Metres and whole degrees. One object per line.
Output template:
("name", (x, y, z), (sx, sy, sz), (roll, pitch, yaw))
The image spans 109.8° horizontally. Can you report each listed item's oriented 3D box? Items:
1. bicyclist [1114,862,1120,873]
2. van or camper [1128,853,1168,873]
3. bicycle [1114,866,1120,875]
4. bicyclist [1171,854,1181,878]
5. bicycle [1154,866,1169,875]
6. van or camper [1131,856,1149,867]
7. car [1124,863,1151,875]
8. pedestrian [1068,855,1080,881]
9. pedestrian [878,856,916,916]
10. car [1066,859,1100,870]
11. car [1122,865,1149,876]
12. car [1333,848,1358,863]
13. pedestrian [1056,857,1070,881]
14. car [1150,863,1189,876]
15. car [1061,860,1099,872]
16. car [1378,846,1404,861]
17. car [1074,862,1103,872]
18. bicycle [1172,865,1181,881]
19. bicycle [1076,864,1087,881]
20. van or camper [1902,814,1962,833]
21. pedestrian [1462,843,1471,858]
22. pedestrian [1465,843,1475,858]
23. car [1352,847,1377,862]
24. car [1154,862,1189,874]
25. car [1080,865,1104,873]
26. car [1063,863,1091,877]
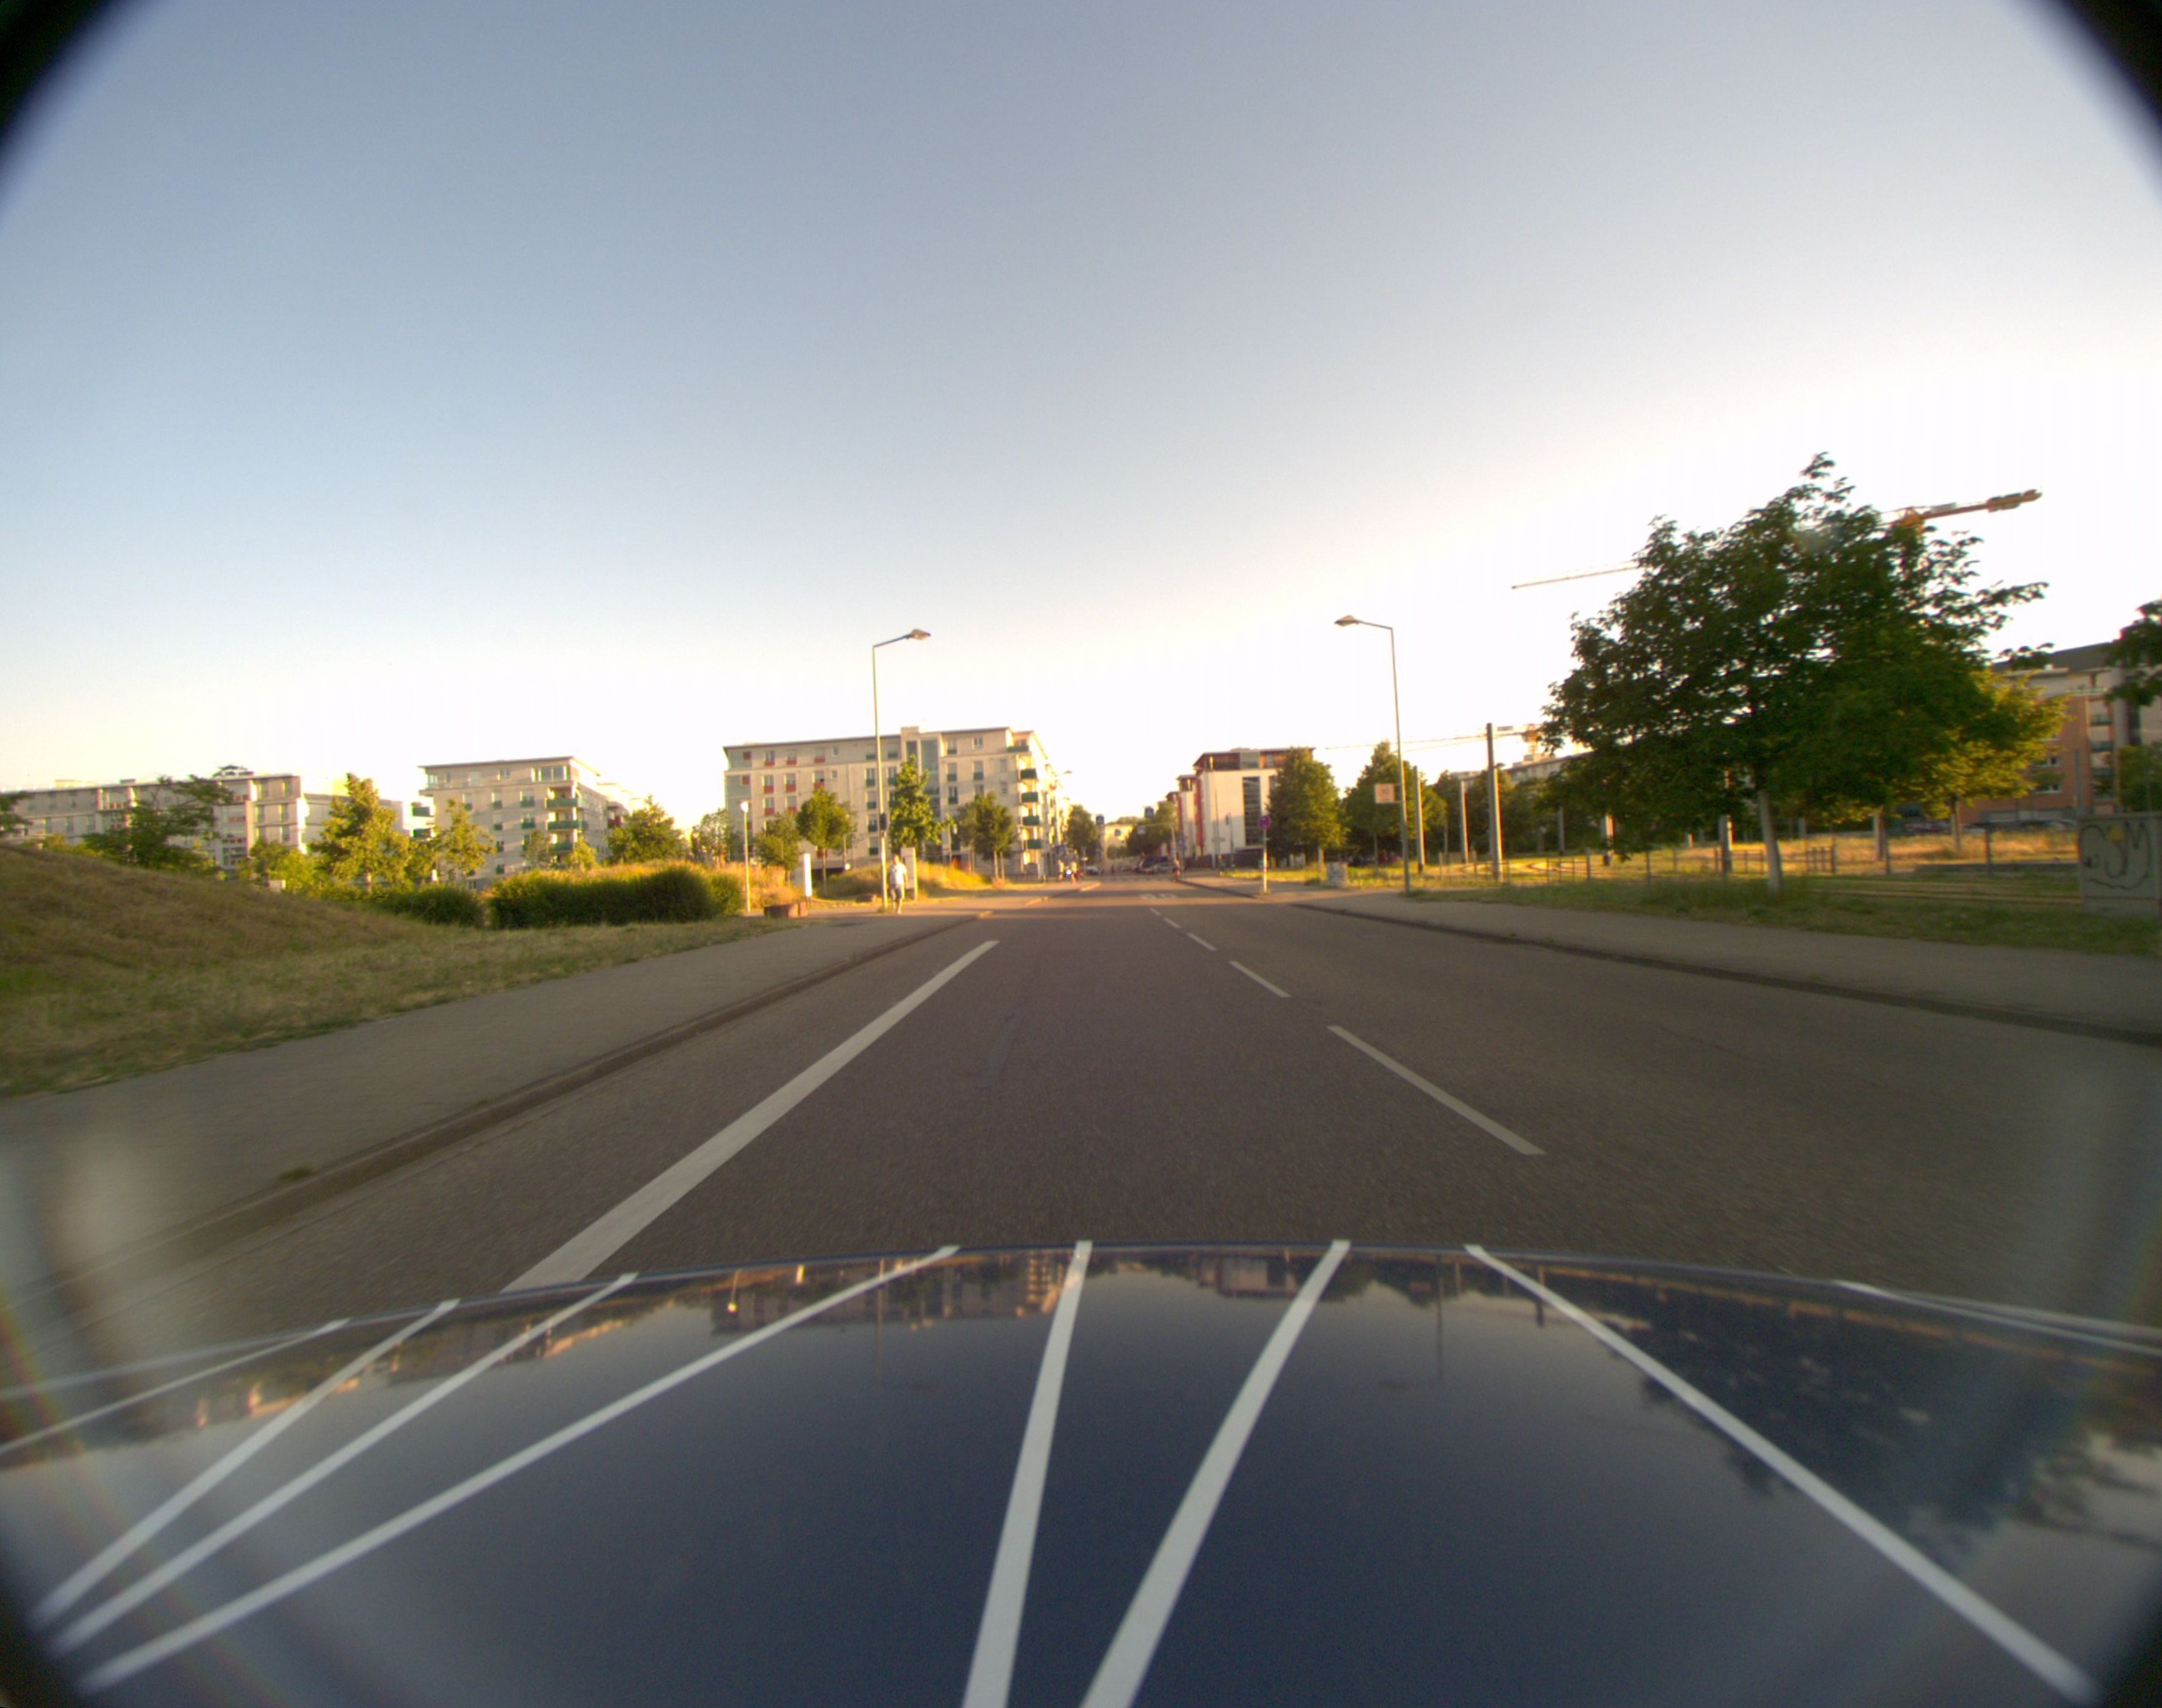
("bicyclist", (5.292, 1.965, 112.881), (0.767, 1.617, 0.663), (-3, -1, 1))
("van or camper", (11.526, 1.515, 130.877), (6.314, 3.068, 2.442), (-3, -1, -2))
("bicycle", (5.321, 2.450, 112.919), (0.771, 1.259, 1.782), (-3, -1, 1))
("bicyclist", (6.781, 0.879, 54.129), (0.616, 1.652, 1.037), (-3, -1, 6))
("bicycle", (10.286, 2.109, 97.368), (1.821, 1.060, 0.567), (-6, -1, 0))
("van or camper", (14.191, 1.862, 182.942), (4.250, 2.520, 1.761), (0, -1, 3))
("car", (8.874, 2.353, 119.646), (4.102, 1.616, 1.724), (-3, -1, -2))
("pedestrian", (-0.478, 0.988, 53.124), (0.595, 1.791, 0.818), (-3, -1, 8))
("pedestrian", (-5.456, 0.935, 22.580), (0.833, 1.756, 0.818), (0, 1, 8))
("car", (0.302, 1.380, 103.246), (4.410, 1.499, 1.744), (0, -1, 5))
("car", (8.376, 2.516, 117.570), (3.919, 1.506, 1.724), (-3, -1, -2))
("car", (28.983, 0.159, 83.420), (1.689, 1.513, 3.412), (-3, 0, 4))
("pedestrian", (-1.347, 1.110, 56.026), (0.801, 1.719, 0.768), (-3, -1, 10))
("car", (11.977, 2.117, 103.072), (4.915, 1.469, 1.711), (-4, -1, 0))
("car", (-0.121, 1.594, 100.446), (4.885, 1.449, 1.939), (0, -1, 4))
("car", (33.622, -0.054, 82.470), (1.593, 1.491, 3.412), (-3, 0, 4))
("car", (1.099, 1.906, 113.272), (4.294, 1.499, 1.686), (0, -1, -1))
("bicycle", (6.823, 1.349, 54.126), (0.539, 1.036, 1.926), (-3, -1, 6))
("bicycle", (0.030, 1.280, 52.989), (0.451, 1.161, 1.942), (-3, -1, 7))
("van or camper", (86.809, -3.092, 77.577), (1.833, 1.684, 3.882), (-3, -1, 4))
("pedestrian", (43.228, -0.419, 85.216), (0.712, 1.590, 0.657), (-4, 0, 8))
("pedestrian", (43.242, -0.384, 84.404), (0.742, 1.657, 0.625), (-4, 0, 9))
("car", (30.928, 0.075, 83.063), (1.593, 1.491, 3.412), (-3, 0, 4))
("car", (11.898, 1.830, 100.055), (4.291, 1.449, 1.681), (-1, -1, 0))
("car", (1.988, 2.688, 138.094), (4.250, 1.527, 1.693), (0, -1, 3))
("car", (-0.397, 1.741, 82.405), (1.774, 1.454, 4.185), (0, -1, 20))
